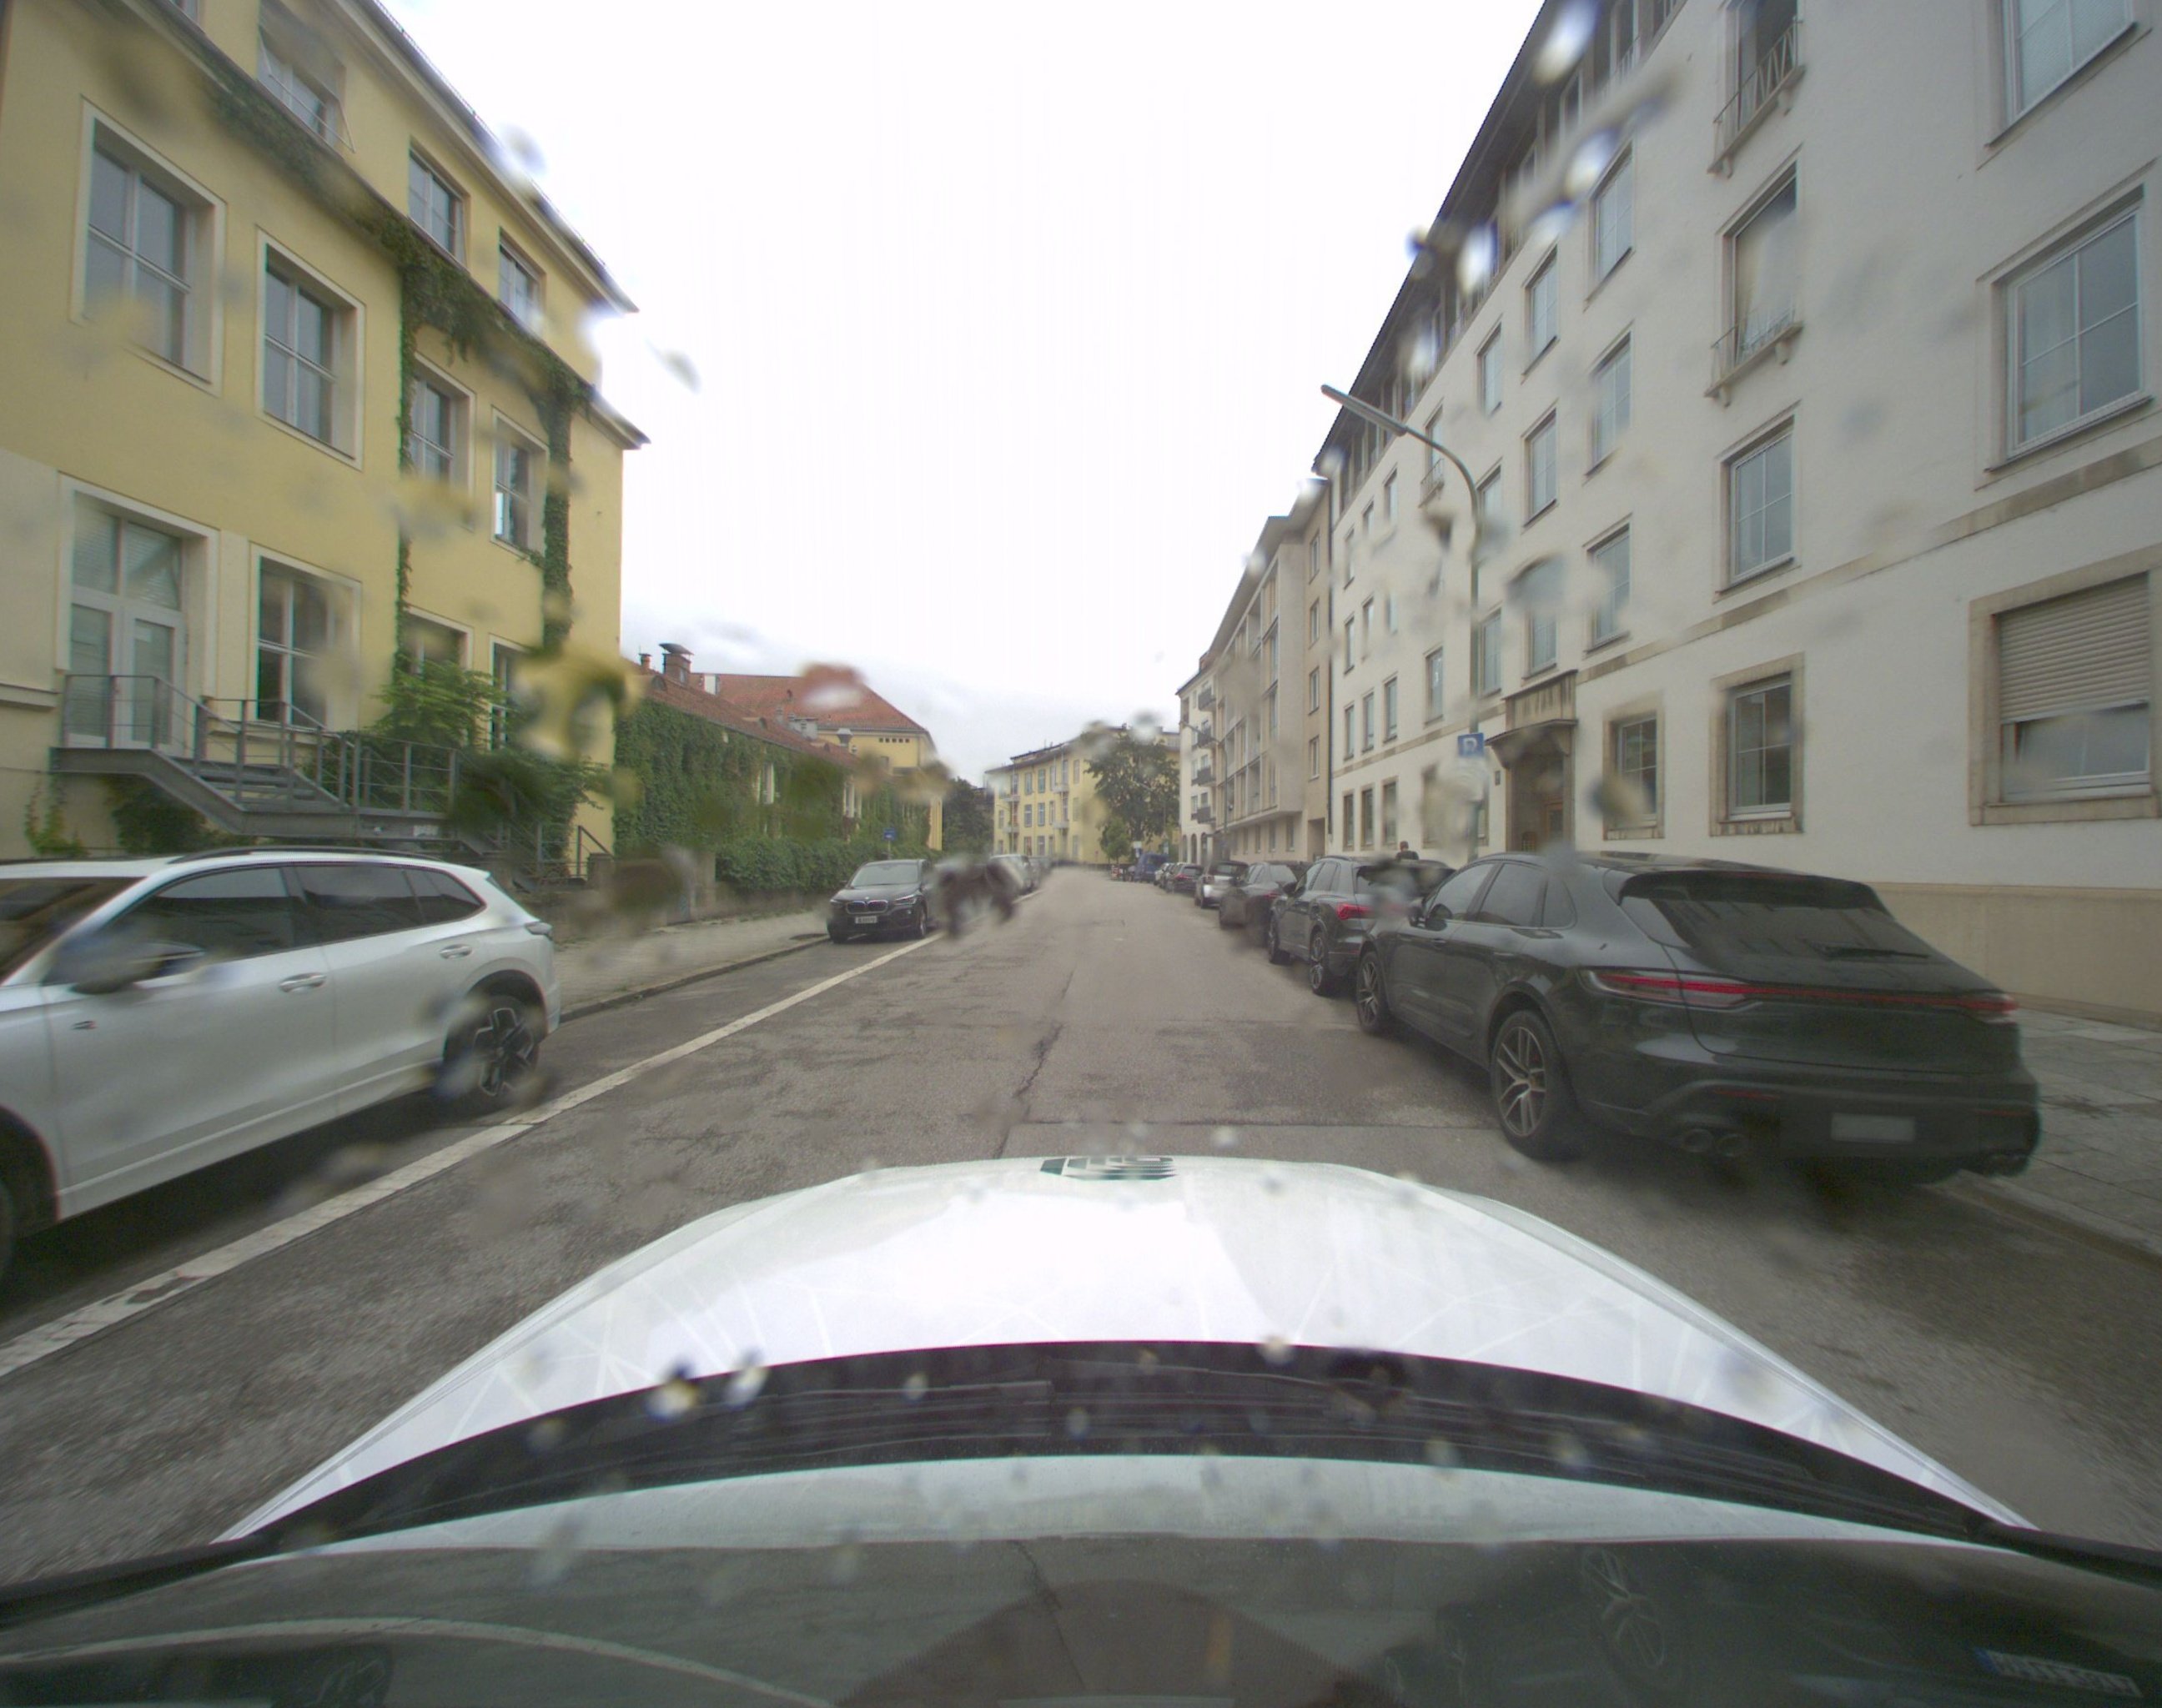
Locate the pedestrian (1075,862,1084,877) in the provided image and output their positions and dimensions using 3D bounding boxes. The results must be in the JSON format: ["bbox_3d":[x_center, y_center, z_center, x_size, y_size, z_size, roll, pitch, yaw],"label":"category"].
[{"bbox_3d":[-0.170,1.887,100.857,0.877,1.823,0.793,1,-1,-19],"label":"pedestrian"}]

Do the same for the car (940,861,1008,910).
[{"bbox_3d":[-3.516,0.998,27.464,1.598,1.430,4.252,-3,-1,1],"label":"car"}]

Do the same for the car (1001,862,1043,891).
[{"bbox_3d":[-3.103,1.164,43.719,1.646,1.414,4.774,-3,-1,3],"label":"car"}]

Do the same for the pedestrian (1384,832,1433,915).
[{"bbox_3d":[7.093,0.433,17.684,0.720,1.764,0.905,1,-3,3],"label":"pedestrian"}]

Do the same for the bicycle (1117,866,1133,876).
[{"bbox_3d":[5.419,2.088,100.247,1.907,1.201,0.598,0,-1,15],"label":"bicycle"}]

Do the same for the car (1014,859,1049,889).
[{"bbox_3d":[-2.894,1.167,48.477,1.691,1.643,4.491,-2,-1,1],"label":"car"}]

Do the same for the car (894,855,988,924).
[{"bbox_3d":[-3.720,0.907,22.392,1.718,1.629,4.466,-2,-1,1],"label":"car"}]

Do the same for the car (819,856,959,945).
[{"bbox_3d":[-3.929,0.884,17.536,1.783,1.587,4.818,-2,-1,0],"label":"car"}]

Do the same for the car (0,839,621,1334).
[{"bbox_3d":[-4.461,0.796,3.914,1.740,1.634,4.855,-1,-1,0],"label":"car"}]

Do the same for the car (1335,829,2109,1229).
[{"bbox_3d":[3.273,0.708,5.597,1.832,1.522,4.713,2,-1,4],"label":"car"}]

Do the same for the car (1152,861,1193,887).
[{"bbox_3d":[5.833,1.245,52.220,1.781,1.533,4.642,3,-1,-3],"label":"car"}]

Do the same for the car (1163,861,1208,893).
[{"bbox_3d":[5.304,1.152,41.862,1.689,1.489,4.579,2,-1,0],"label":"car"}]

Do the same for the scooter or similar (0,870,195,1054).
[{"bbox_3d":[-8.448,0.832,6.731,0.558,1.369,1.502,0,0,3],"label":"scooter or similar"}]

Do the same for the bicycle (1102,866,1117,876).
[{"bbox_3d":[3.509,2.146,101.500,1.903,1.201,0.599,0,-1,39],"label":"bicycle"}]

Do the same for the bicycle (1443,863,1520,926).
[{"bbox_3d":[8.319,0.805,17.015,0.511,1.222,1.985,0,0,-4],"label":"bicycle"}]

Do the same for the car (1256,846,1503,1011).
[{"bbox_3d":[3.533,0.774,10.590,1.638,1.589,4.637,3,0,3],"label":"car"}]

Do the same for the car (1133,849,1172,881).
[{"bbox_3d":[5.552,0.897,63.934,2.075,2.234,5.236,4,-3,-4],"label":"car"}]

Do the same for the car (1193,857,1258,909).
[{"bbox_3d":[4.572,0.888,26.134,1.643,1.495,2.883,3,0,2],"label":"car"}]

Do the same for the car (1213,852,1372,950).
[{"bbox_3d":[3.849,0.788,15.840,1.796,1.484,5.321,3,0,2],"label":"car"}]

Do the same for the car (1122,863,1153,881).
[{"bbox_3d":[4.820,1.503,70.094,1.677,1.389,4.290,4,-1,-10],"label":"car"}]

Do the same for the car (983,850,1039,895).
[{"bbox_3d":[-3.204,0.843,38.177,1.879,1.889,4.777,-3,-1,3],"label":"car"}]

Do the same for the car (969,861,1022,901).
[{"bbox_3d":[-3.363,1.026,32.718,1.586,1.441,4.019,-2,-1,1],"label":"car"}]

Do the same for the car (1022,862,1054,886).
[{"bbox_3d":[-2.781,1.299,53.783,1.688,1.393,4.501,-4,-1,1],"label":"car"}]

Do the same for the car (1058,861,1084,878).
[{"bbox_3d":[-1.245,1.902,100.676,1.768,1.874,4.350,5,-2,-20],"label":"car"}]

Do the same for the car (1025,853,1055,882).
[{"bbox_3d":[-2.979,0.996,59.046,2.068,1.964,5.343,-2,-1,-3],"label":"car"}]

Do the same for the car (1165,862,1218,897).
[{"bbox_3d":[4.928,1.099,36.927,1.739,1.388,4.953,2,-1,0],"label":"car"}]
